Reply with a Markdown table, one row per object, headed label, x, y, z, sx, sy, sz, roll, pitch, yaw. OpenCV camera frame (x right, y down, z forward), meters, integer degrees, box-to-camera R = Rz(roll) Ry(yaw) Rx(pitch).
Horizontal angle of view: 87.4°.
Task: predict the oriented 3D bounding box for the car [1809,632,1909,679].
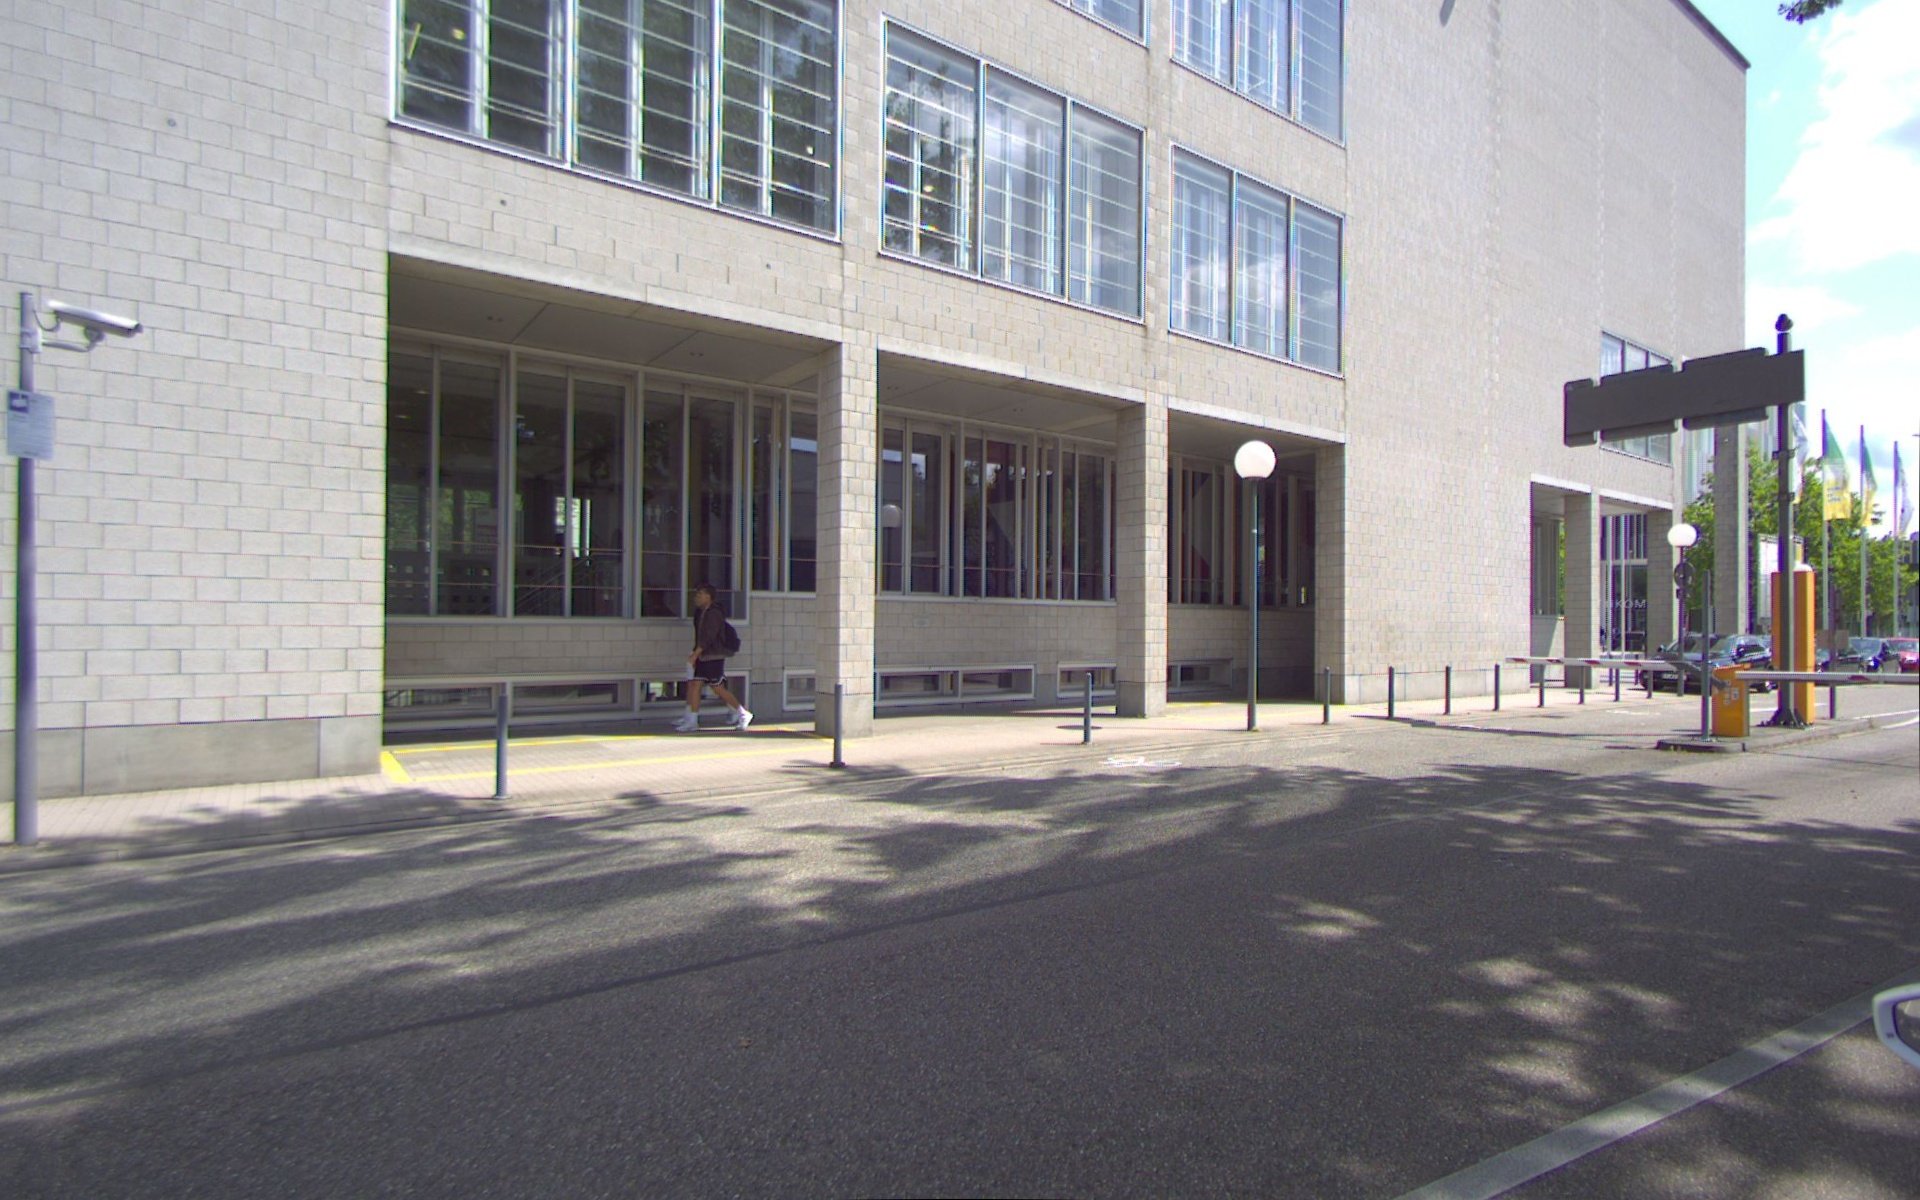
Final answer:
| label | x | y | z | sx | sy | sz | roll | pitch | yaw |
| --- | --- | --- | --- | --- | --- | --- | --- | --- | --- |
| car | 32.369 | 1.961 | 36.132 | 4.154 | 1.487 | 1.736 | 2 | 1 | -35 |

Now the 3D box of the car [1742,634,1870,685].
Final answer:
| label | x | y | z | sx | sy | sz | roll | pitch | yaw |
| --- | --- | --- | --- | --- | --- | --- | --- | --- | --- |
| car | 26.697 | 1.840 | 31.652 | 4.966 | 1.396 | 1.847 | 2 | 1 | -35 |

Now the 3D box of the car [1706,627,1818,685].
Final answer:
| label | x | y | z | sx | sy | sz | roll | pitch | yaw |
| --- | --- | --- | --- | --- | --- | --- | --- | --- | --- |
| car | 23.093 | 1.576 | 28.889 | 3.672 | 1.487 | 1.627 | 2 | 1 | -37 |

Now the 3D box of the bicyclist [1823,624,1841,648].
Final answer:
| label | x | y | z | sx | sy | sz | roll | pitch | yaw |
| --- | --- | --- | --- | --- | --- | --- | --- | --- | --- |
| bicyclist | 68.757 | 2.821 | 79.198 | 0.986 | 1.841 | 0.787 | 1 | -1 | -26 |

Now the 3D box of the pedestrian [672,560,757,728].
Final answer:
| label | x | y | z | sx | sy | sz | roll | pitch | yaw |
| --- | --- | --- | --- | --- | --- | --- | --- | --- | --- |
| pedestrian | -3.118 | 0.545 | 12.746 | 0.822 | 2.040 | 0.694 | 1 | 0 | -36 |

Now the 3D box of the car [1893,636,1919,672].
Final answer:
| label | x | y | z | sx | sy | sz | roll | pitch | yaw |
| --- | --- | --- | --- | --- | --- | --- | --- | --- | --- |
| car | 40.826 | 2.277 | 42.090 | 4.617 | 1.414 | 1.665 | 2 | 1 | -36 |

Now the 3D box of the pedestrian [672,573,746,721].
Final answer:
| label | x | y | z | sx | sy | sz | roll | pitch | yaw |
| --- | --- | --- | --- | --- | --- | --- | --- | --- | --- |
| pedestrian | -3.370 | 0.613 | 13.474 | 0.713 | 1.905 | 0.726 | 1 | 0 | -36 |

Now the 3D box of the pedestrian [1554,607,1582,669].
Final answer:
| label | x | y | z | sx | sy | sz | roll | pitch | yaw |
| --- | --- | --- | --- | --- | --- | --- | --- | --- | --- |
| pedestrian | 24.424 | 1.505 | 40.337 | 0.723 | 2.454 | 0.760 | 1 | -1 | 9 |

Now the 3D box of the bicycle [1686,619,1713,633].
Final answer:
| label | x | y | z | sx | sy | sz | roll | pitch | yaw |
| --- | --- | --- | --- | --- | --- | --- | --- | --- | --- |
| bicycle | 68.149 | 2.369 | 92.565 | 1.351 | 1.253 | 2.949 | 1 | -1 | 24 |

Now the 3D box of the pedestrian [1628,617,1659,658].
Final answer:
| label | x | y | z | sx | sy | sz | roll | pitch | yaw |
| --- | --- | --- | --- | --- | --- | --- | --- | --- | --- |
| pedestrian | 32.096 | 1.769 | 47.196 | 1.073 | 1.875 | 0.718 | 1 | 0 | -24 |

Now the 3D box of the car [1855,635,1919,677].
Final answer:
| label | x | y | z | sx | sy | sz | roll | pitch | yaw |
| --- | --- | --- | --- | --- | --- | --- | --- | --- | --- |
| car | 36.709 | 2.153 | 39.346 | 3.873 | 1.487 | 1.665 | 2 | 1 | -36 |

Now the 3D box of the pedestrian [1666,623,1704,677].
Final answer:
| label | x | y | z | sx | sy | sz | roll | pitch | yaw |
| --- | --- | --- | --- | --- | --- | --- | --- | --- | --- |
| pedestrian | 28.091 | 1.932 | 38.917 | 1.155 | 2.040 | 0.976 | 1 | -1 | -40 |

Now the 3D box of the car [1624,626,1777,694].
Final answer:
| label | x | y | z | sx | sy | sz | roll | pitch | yaw |
| --- | --- | --- | --- | --- | --- | --- | --- | --- | --- |
| car | 18.948 | 1.475 | 25.646 | 4.674 | 1.487 | 1.846 | 2 | 1 | -37 |
